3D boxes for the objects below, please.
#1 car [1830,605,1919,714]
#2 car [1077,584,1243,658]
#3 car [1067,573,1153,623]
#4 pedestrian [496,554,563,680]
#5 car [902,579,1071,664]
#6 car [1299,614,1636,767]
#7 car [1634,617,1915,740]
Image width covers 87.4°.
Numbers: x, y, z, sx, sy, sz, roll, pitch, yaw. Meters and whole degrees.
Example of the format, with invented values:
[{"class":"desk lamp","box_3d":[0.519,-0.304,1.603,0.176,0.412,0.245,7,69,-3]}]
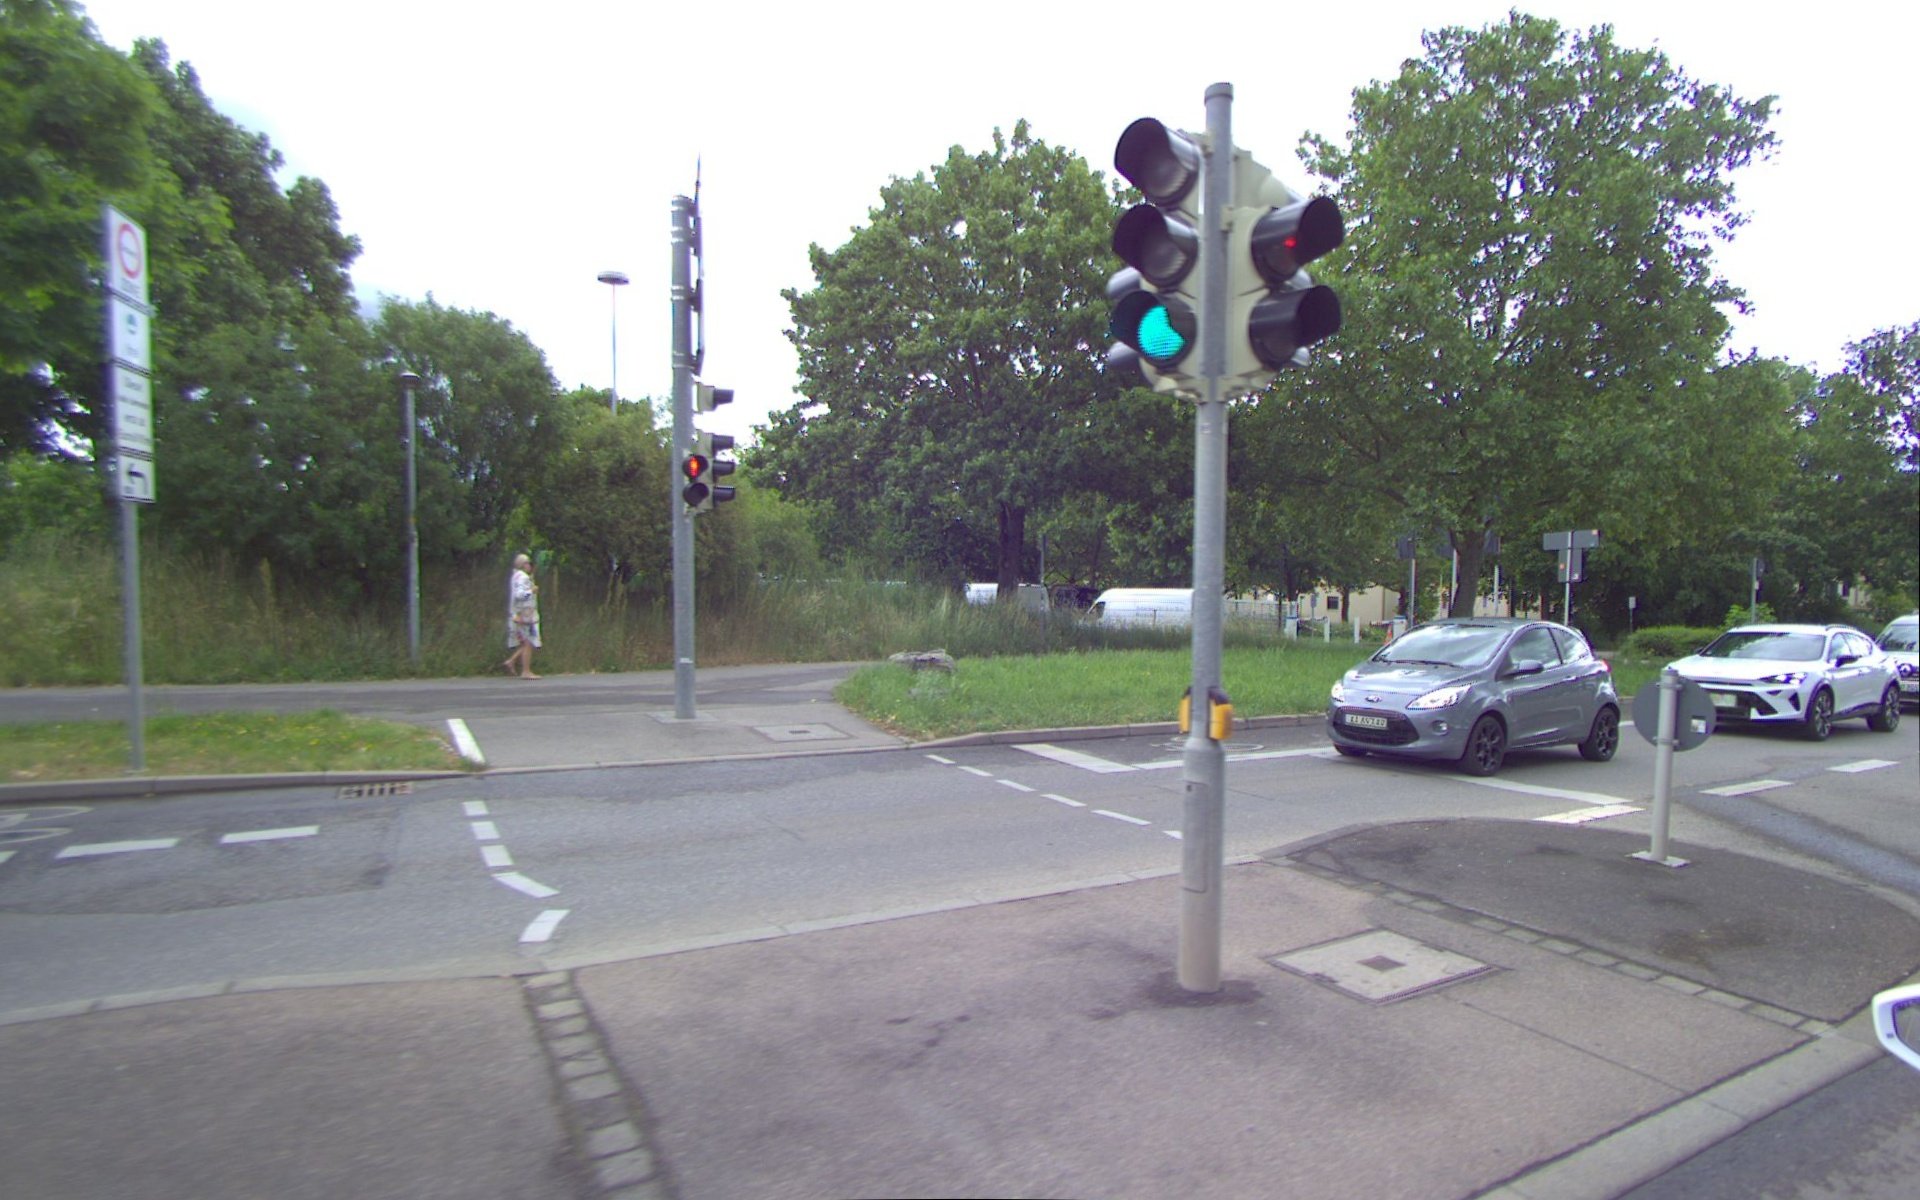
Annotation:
[{"class":"car","box_3d":[17.964,1.052,18.419,4.600,1.827,1.836,1,-1,-33]},{"class":"car","box_3d":[7.397,0.714,37.824,2.630,2.508,6.006,1,1,-33]},{"class":"car","box_3d":[8.415,-0.144,56.773,1.980,2.698,4.933,1,1,-35]},{"class":"pedestrian","box_3d":[-5.941,0.231,13.850,0.744,1.674,0.740,1,1,-30]},{"class":"car","box_3d":[0.725,0.621,33.335,2.630,2.508,6.006,1,1,-33]},{"class":"car","box_3d":[5.386,0.851,10.561,3.613,1.348,1.539,1,-1,-32]},{"class":"car","box_3d":[12.029,1.049,14.745,4.763,1.541,1.836,1,-1,-33]}]
